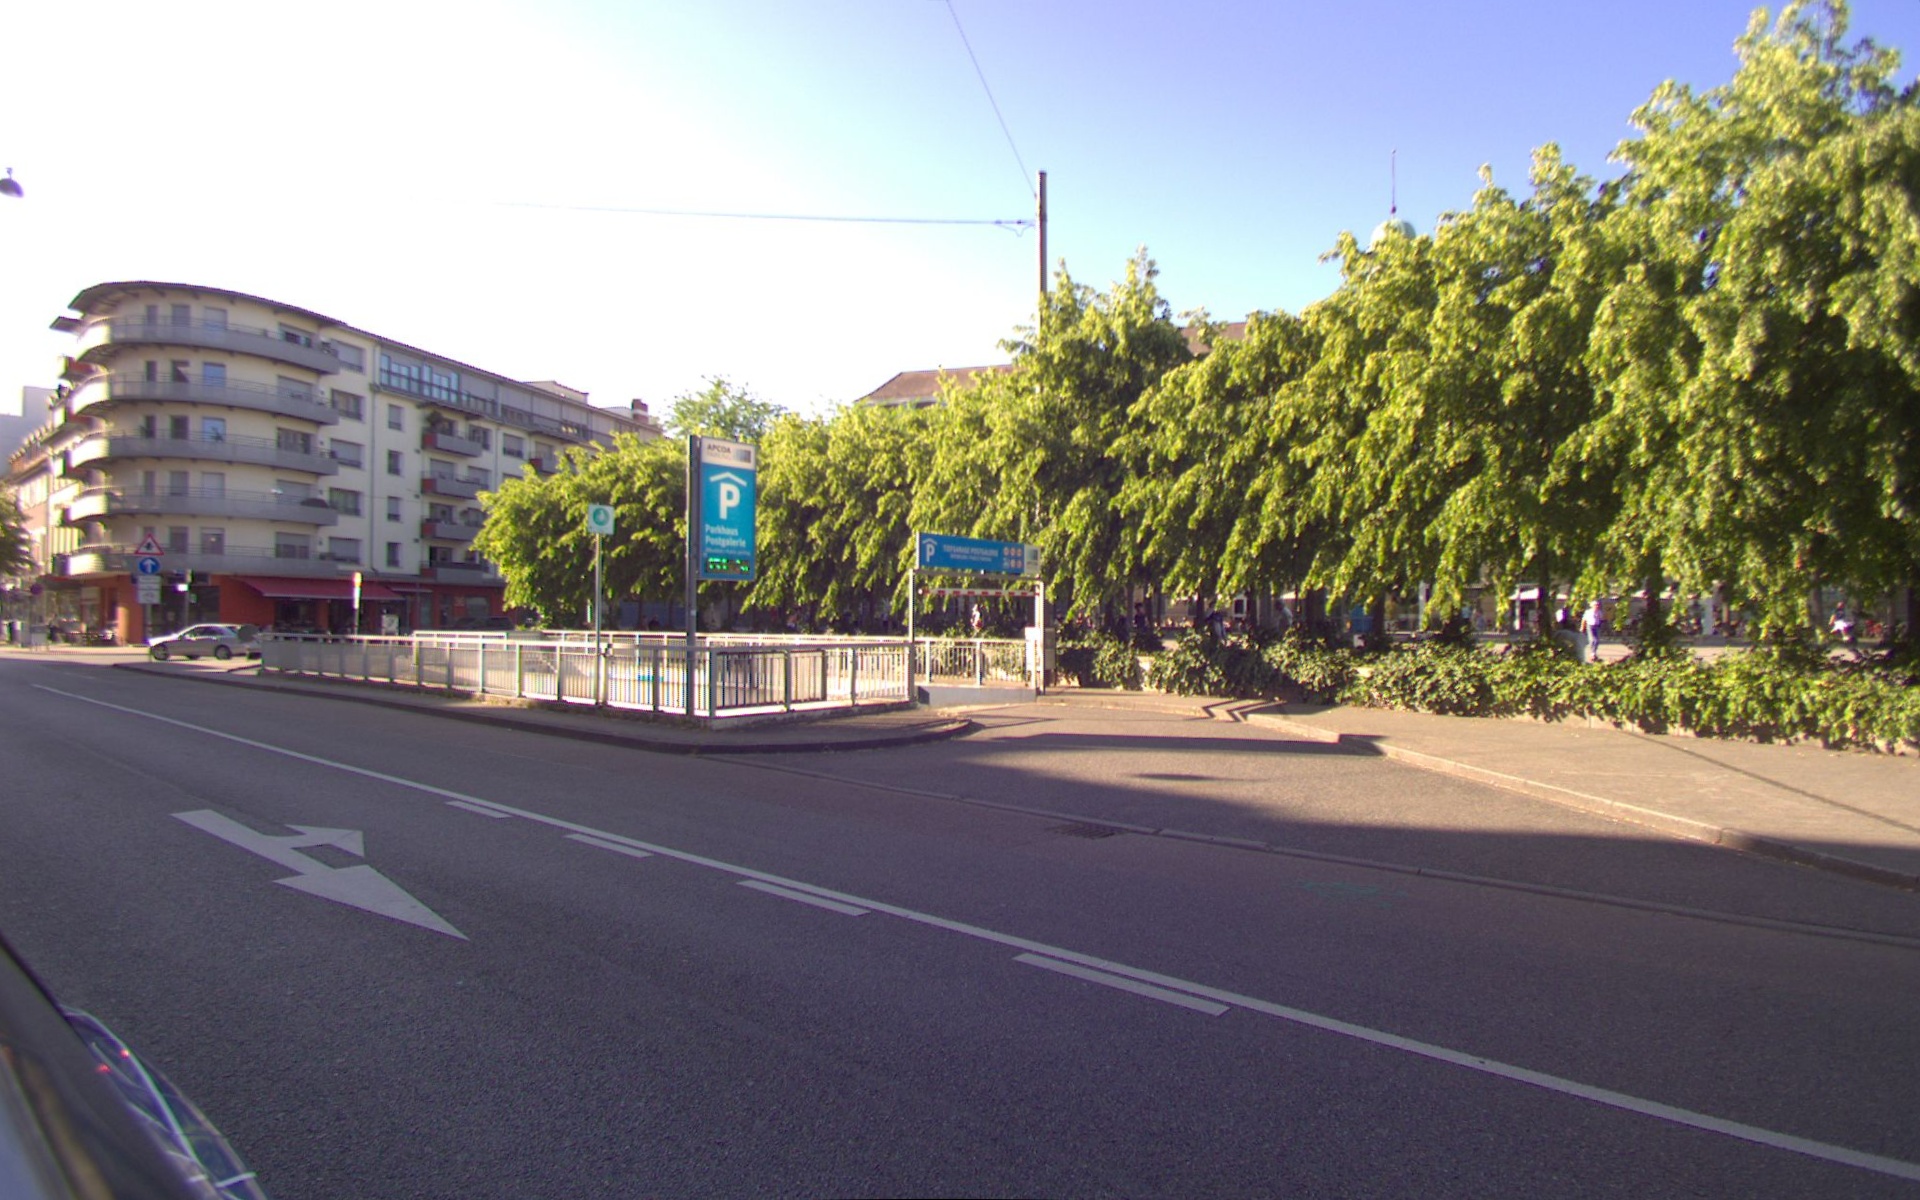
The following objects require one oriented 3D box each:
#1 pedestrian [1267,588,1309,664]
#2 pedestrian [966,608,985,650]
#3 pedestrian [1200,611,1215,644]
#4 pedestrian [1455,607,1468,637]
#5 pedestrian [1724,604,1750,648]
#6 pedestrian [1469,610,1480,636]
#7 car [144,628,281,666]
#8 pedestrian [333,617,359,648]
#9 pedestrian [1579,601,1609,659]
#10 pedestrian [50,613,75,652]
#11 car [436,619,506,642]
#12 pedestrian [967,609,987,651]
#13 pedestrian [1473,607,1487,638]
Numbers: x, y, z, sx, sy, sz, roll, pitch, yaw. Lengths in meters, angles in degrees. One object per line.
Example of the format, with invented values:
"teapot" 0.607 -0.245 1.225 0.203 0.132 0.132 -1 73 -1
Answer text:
"pedestrian" 7.294 0.566 22.506 0.645 1.661 0.626 -1 0 -35
"pedestrian" 0.662 1.231 43.071 0.604 1.734 0.642 -1 0 21
"pedestrian" 12.904 1.425 52.782 0.606 1.734 0.640 -1 0 31
"pedestrian" 29.370 1.284 59.309 0.643 1.734 0.603 -1 0 26
"pedestrian" 31.456 1.046 40.962 0.641 1.734 0.605 -1 0 18
"pedestrian" 29.994 1.323 59.000 0.537 1.512 0.547 -1 0 29
"car" -29.446 1.840 39.917 4.213 1.363 1.821 1 -2 7
"pedestrian" -32.882 1.750 54.210 0.877 1.607 0.861 -1 0 2
"pedestrian" 19.306 0.915 30.816 0.643 1.734 0.604 -1 0 22
"pedestrian" -46.861 1.677 52.851 0.888 2.029 0.850 -1 0 40
"car" -30.507 1.893 63.225 1.742 1.311 3.977 -1 -1 17
"pedestrian" 0.710 1.256 42.299 0.604 1.734 0.642 -1 0 21
"pedestrian" 29.877 1.278 58.139 0.643 1.734 0.603 -1 0 26
